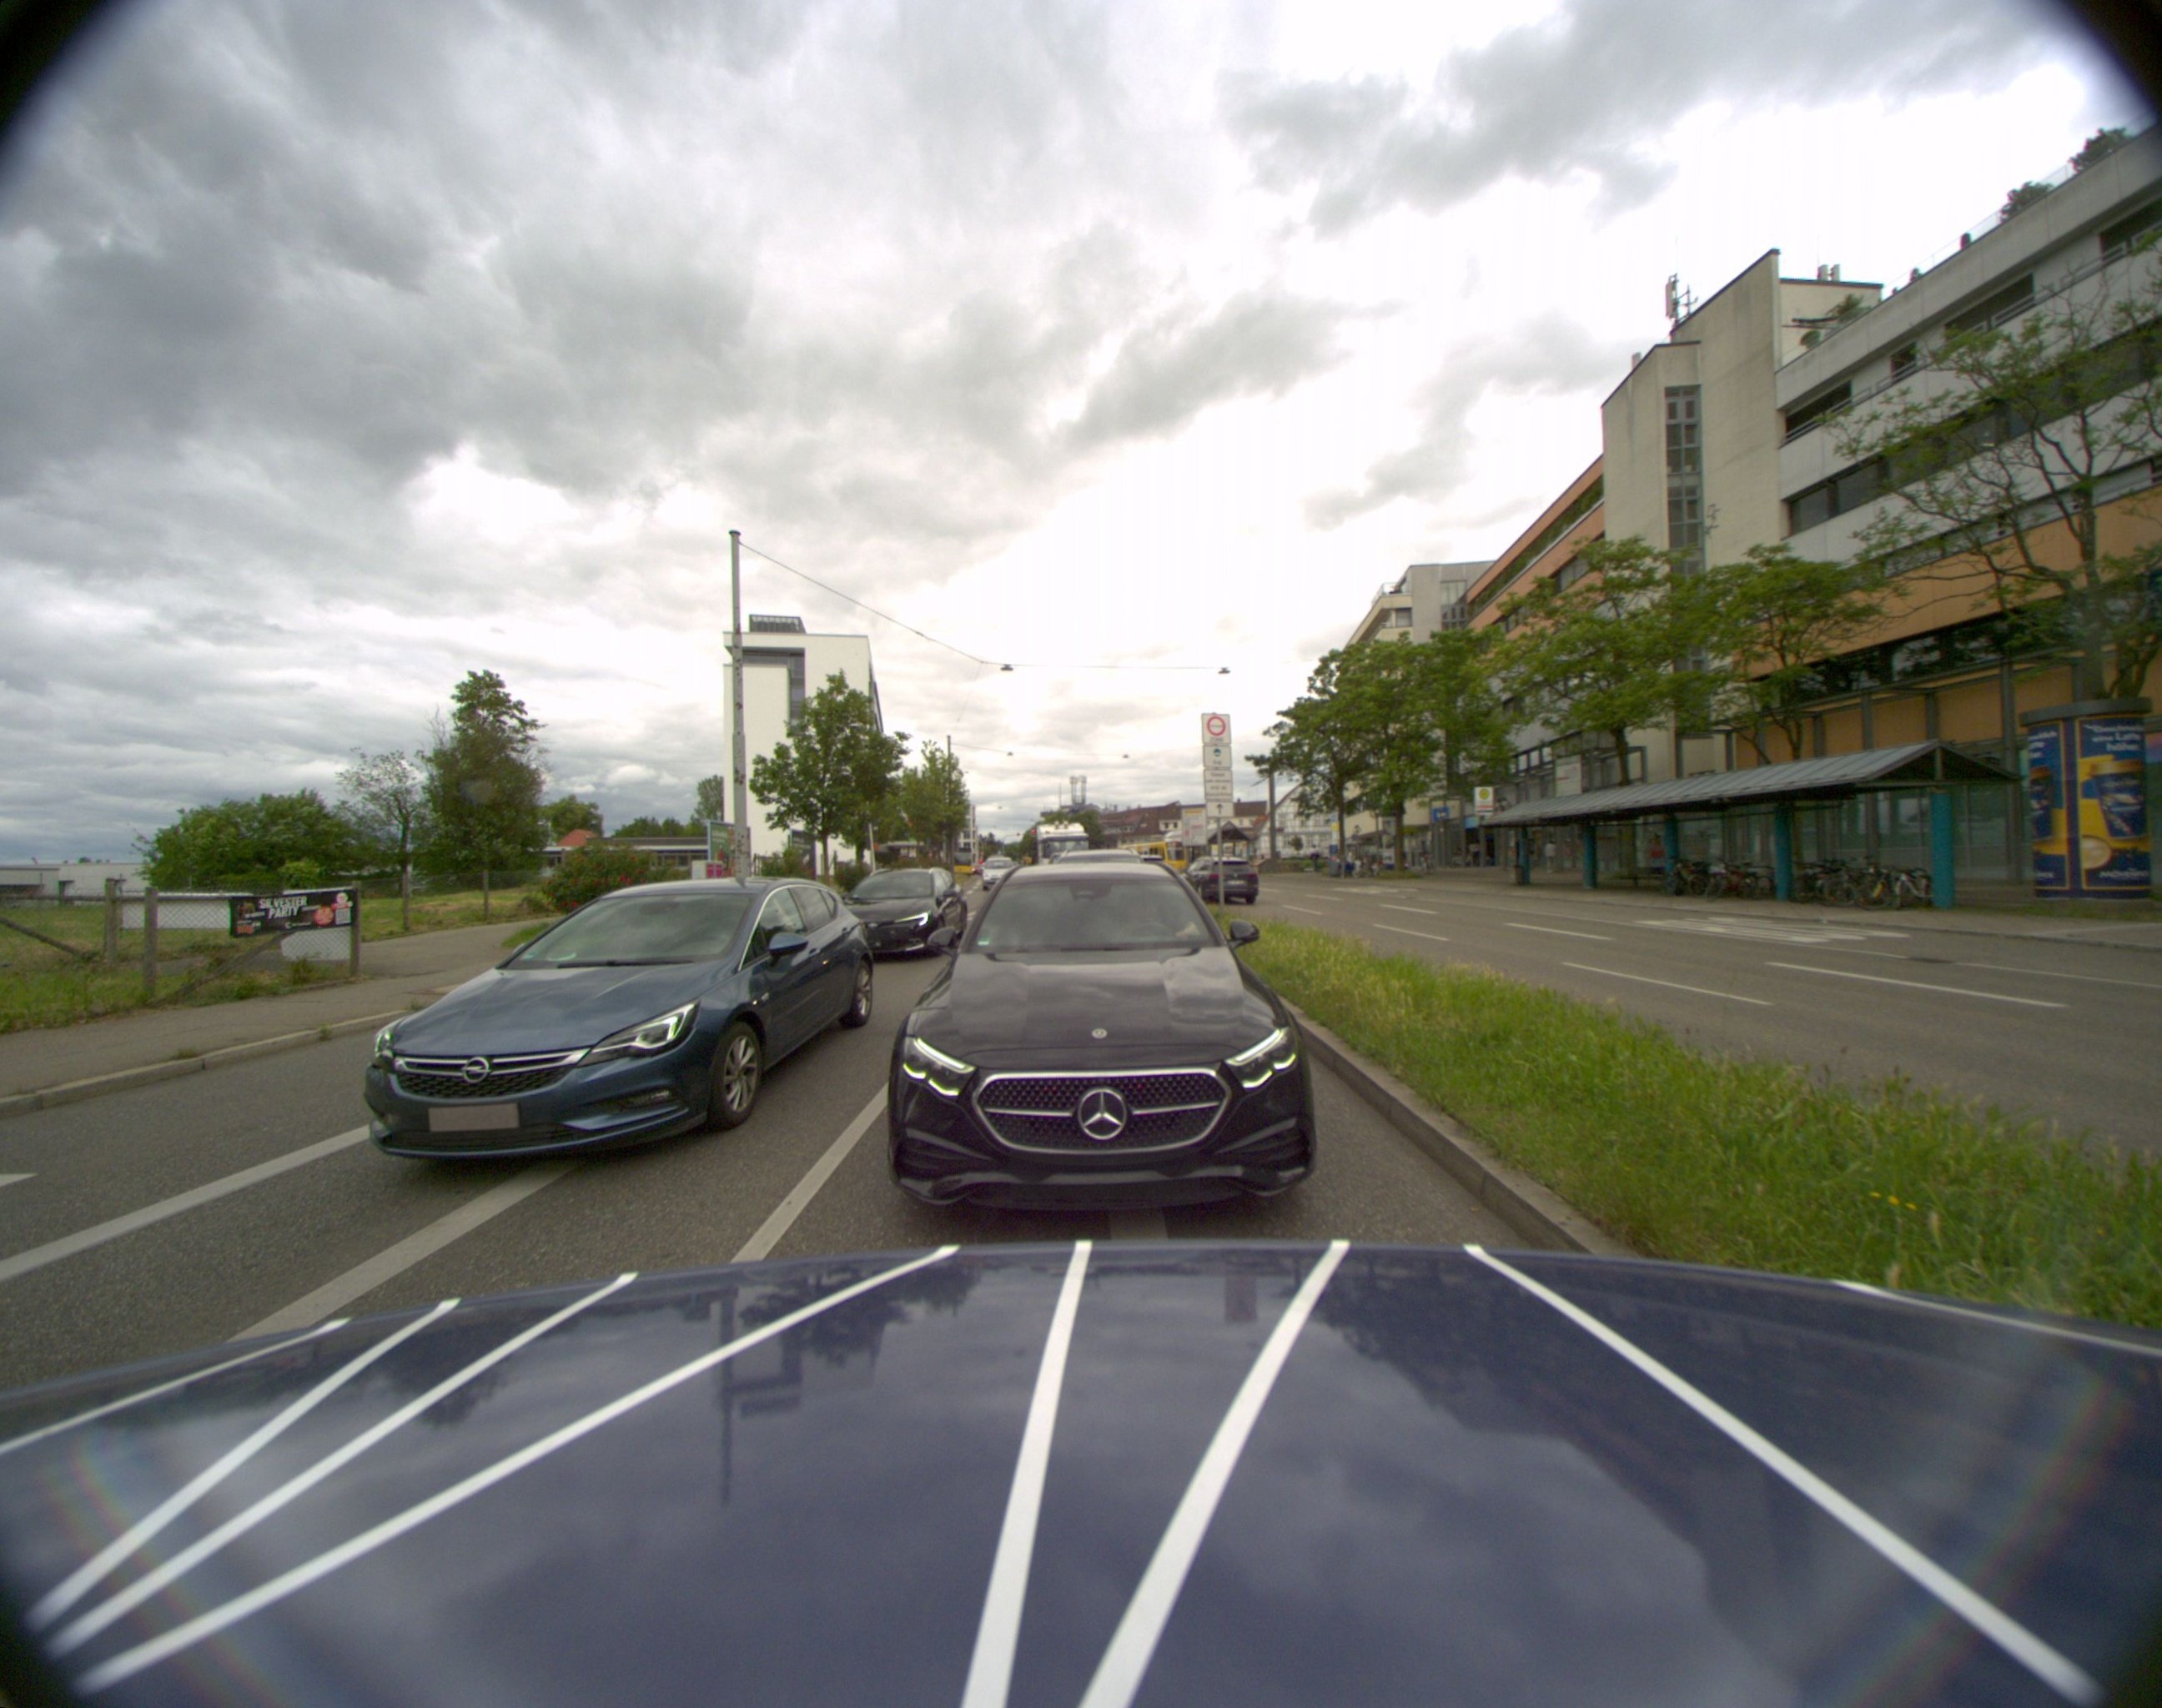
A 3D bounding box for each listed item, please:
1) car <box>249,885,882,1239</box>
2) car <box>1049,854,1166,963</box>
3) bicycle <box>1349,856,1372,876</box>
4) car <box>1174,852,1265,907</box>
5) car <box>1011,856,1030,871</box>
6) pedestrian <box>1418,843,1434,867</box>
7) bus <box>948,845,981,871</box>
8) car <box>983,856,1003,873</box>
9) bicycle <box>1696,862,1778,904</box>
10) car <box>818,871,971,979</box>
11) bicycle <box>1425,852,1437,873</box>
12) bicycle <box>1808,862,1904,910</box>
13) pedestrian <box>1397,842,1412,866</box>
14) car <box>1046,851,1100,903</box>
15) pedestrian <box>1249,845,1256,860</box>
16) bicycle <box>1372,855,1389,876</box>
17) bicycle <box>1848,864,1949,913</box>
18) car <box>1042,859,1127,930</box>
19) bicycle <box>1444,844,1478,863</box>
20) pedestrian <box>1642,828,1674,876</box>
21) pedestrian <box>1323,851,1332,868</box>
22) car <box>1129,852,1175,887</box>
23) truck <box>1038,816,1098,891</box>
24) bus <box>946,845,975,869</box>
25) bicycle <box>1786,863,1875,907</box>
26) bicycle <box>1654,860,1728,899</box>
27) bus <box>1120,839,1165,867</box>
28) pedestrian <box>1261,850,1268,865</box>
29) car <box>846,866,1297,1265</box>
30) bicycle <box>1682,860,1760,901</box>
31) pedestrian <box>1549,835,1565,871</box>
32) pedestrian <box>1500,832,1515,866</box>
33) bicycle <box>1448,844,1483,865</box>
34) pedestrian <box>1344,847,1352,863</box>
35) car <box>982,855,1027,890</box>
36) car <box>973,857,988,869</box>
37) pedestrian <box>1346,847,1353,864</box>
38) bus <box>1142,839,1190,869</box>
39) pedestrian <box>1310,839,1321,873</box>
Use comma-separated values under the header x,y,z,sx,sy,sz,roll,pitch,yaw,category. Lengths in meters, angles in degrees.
x,y,z,sx,sy,sz,roll,pitch,yaw,category
-2.908,1.050,5.523,1.826,1.402,4.000,-2,0,0,car
0.398,0.821,13.478,1.734,1.601,4.000,-2,0,0,car
15.486,0.653,42.012,0.593,1.071,2.041,0,1,38,bicycle
4.358,0.763,24.593,1.715,1.472,4.284,3,1,-6,car
-7.205,1.094,90.214,2.000,1.674,3.997,-4,1,-8,car
24.355,0.036,53.626,0.765,1.673,0.752,-1,1,1,pedestrian
-12.806,0.390,82.723,2.969,2.616,12.137,-2,1,-11,bus
-10.101,1.162,86.899,2.000,1.811,3.996,-1,0,-10,car
17.954,0.789,20.804,1.735,1.035,0.549,-3,1,-2,bicycle
-3.056,1.108,13.267,1.665,1.448,3.921,-2,0,0,car
19.494,0.467,42.379,0.593,1.119,2.040,0,1,24,bicycle
18.632,0.751,18.278,1.735,1.035,0.549,-3,1,-2,bicycle
24.839,0.017,58.362,0.765,1.835,0.752,-1,1,1,pedestrian
-0.360,0.776,28.341,1.865,1.773,3.999,-1,0,-2,car
22.382,-0.210,99.167,0.879,2.002,1.010,-1,1,6,pedestrian
16.409,0.621,41.640,0.593,1.071,2.041,0,1,29,bicycle
18.691,0.783,17.392,1.735,1.035,0.549,-2,1,-2,bicycle
0.051,0.911,18.904,1.865,1.520,3.999,-1,0,-1,car
27.765,-0.029,55.545,2.138,1.358,0.620,-2,1,26,bicycle
24.977,-0.092,32.899,0.710,2.002,0.794,-2,1,-7,pedestrian
21.831,0.468,67.209,0.577,1.533,0.583,-1,1,-8,pedestrian
3.457,0.717,37.563,1.840,1.512,4.070,0,1,-1,car
-0.759,-0.043,36.720,2.490,3.258,7.428,-1,0,-4,truck
-15.210,0.345,95.047,2.969,2.616,12.911,-2,1,-11,bus
19.031,0.773,19.303,1.735,1.035,0.549,-2,1,-2,bicycle
18.211,0.747,22.697,1.735,1.035,0.549,-3,1,-2,bicycle
6.945,-0.115,87.945,2.556,2.966,9.790,-1,0,-11,bus
19.318,0.362,80.052,0.577,1.533,0.583,-1,1,-8,pedestrian
-0.048,0.885,5.186,1.793,1.507,4.249,-1,0,0,car
18.290,0.742,21.737,1.735,1.035,0.549,-4,1,-2,bicycle
24.106,-0.049,38.482,0.648,1.799,0.761,0,1,34,pedestrian
25.273,-0.313,44.980,0.566,2.002,0.611,-1,1,6,pedestrian
27.002,0.029,53.394,2.139,1.367,0.620,-2,1,18,bicycle
25.162,0.072,71.615,0.555,1.485,0.454,-1,1,8,pedestrian
-3.906,0.913,39.336,1.851,1.606,3.783,-3,0,0,car
-13.985,1.262,106.193,2.000,1.592,3.997,-1,0,-7,car
19.478,0.113,55.106,0.341,1.172,0.369,-1,1,-9,pedestrian
8.710,0.003,79.010,2.556,2.966,8.498,-1,0,-11,bus
16.255,0.137,52.703,0.590,2.294,0.608,-1,1,-2,pedestrian
